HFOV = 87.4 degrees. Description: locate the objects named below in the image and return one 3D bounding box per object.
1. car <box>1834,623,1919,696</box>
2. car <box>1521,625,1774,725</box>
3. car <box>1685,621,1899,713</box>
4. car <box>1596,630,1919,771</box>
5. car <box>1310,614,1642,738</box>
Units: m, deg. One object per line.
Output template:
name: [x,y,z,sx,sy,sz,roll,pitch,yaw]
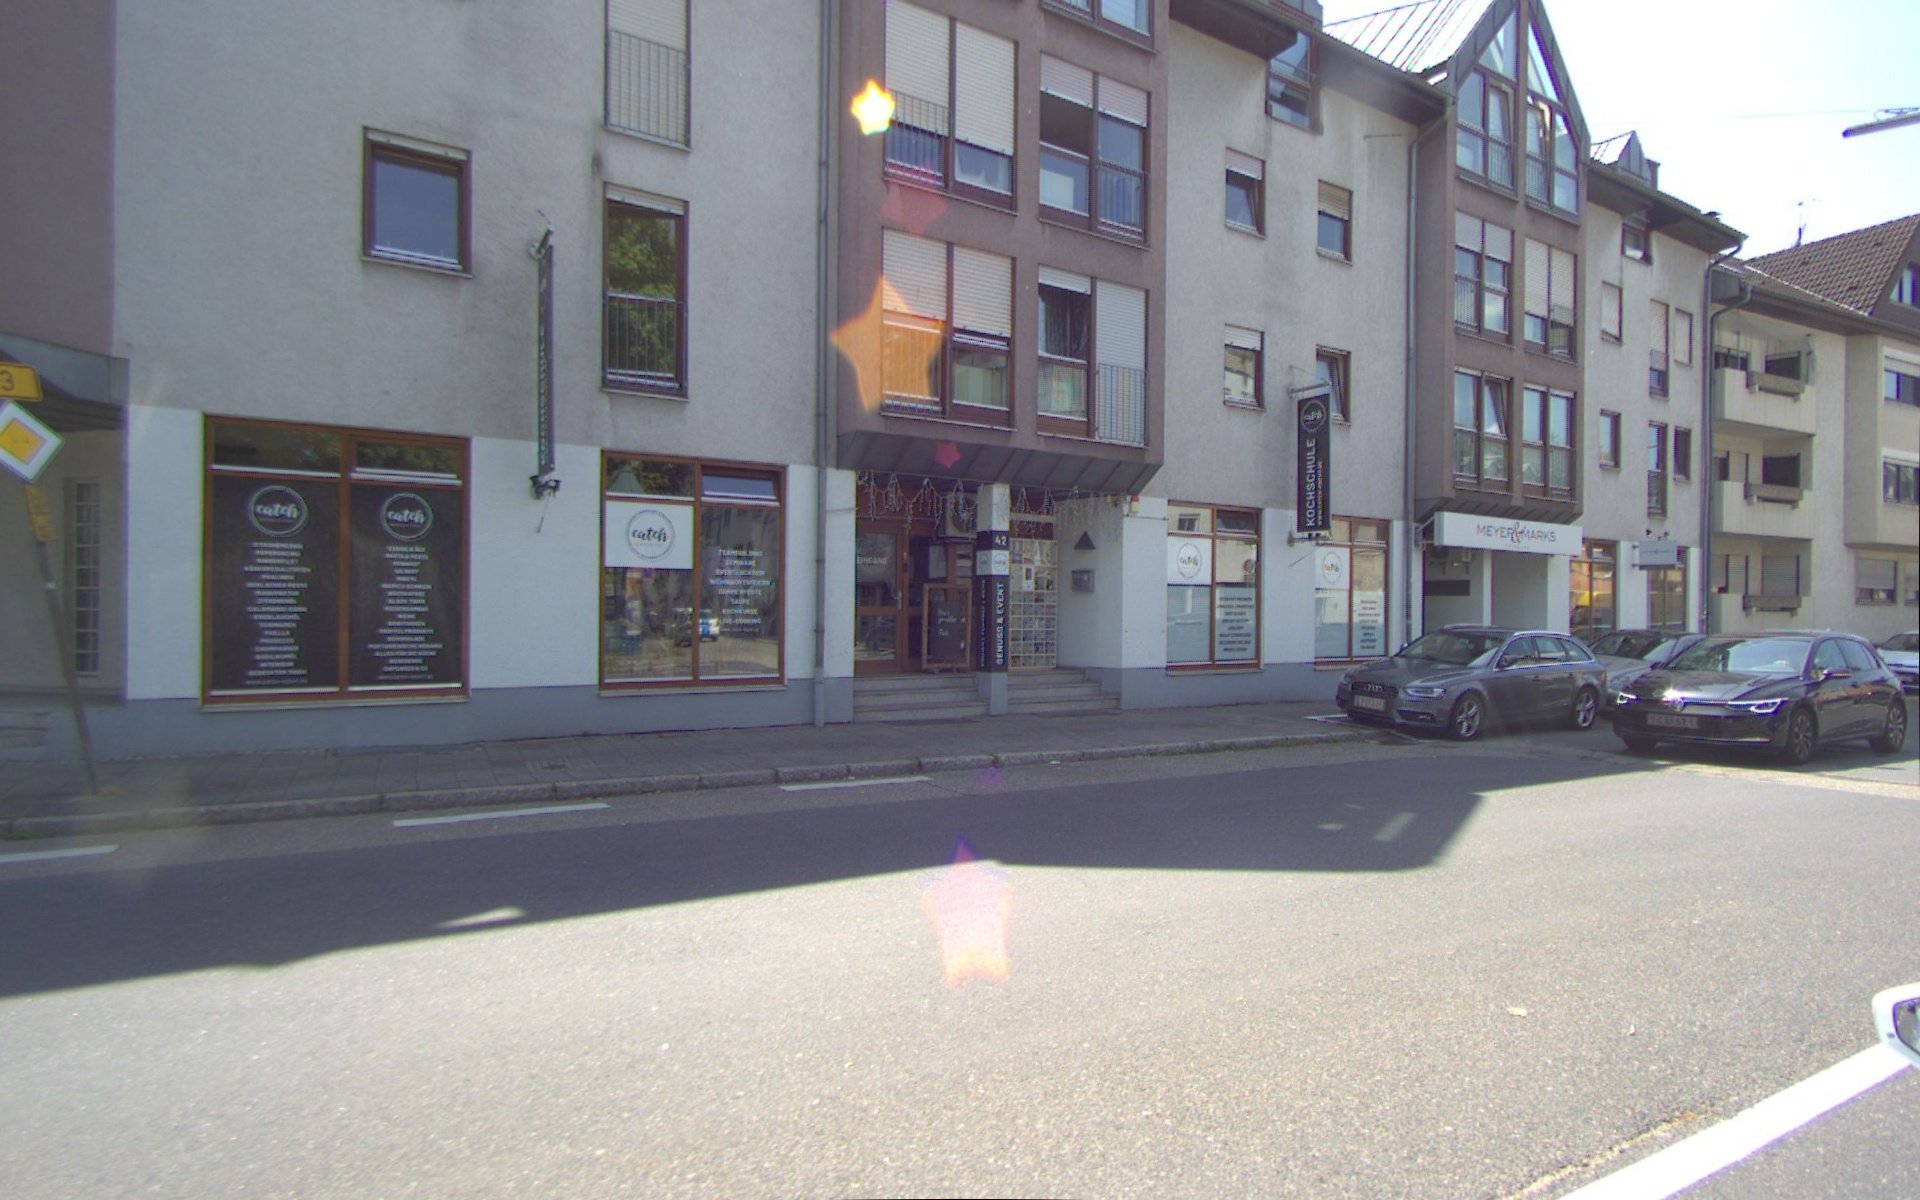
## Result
car: [22.576,1.378,23.524,4.335,1.509,1.831,2,2,-30]
car: [11.698,1.202,17.047,4.275,1.402,1.831,2,2,-30]
car: [16.264,1.253,19.597,4.336,1.509,1.830,2,2,-31]
car: [9.715,1.100,12.100,4.172,1.438,1.735,1,-2,-30]
car: [7.562,1.027,14.596,4.908,1.467,1.831,2,2,-29]
